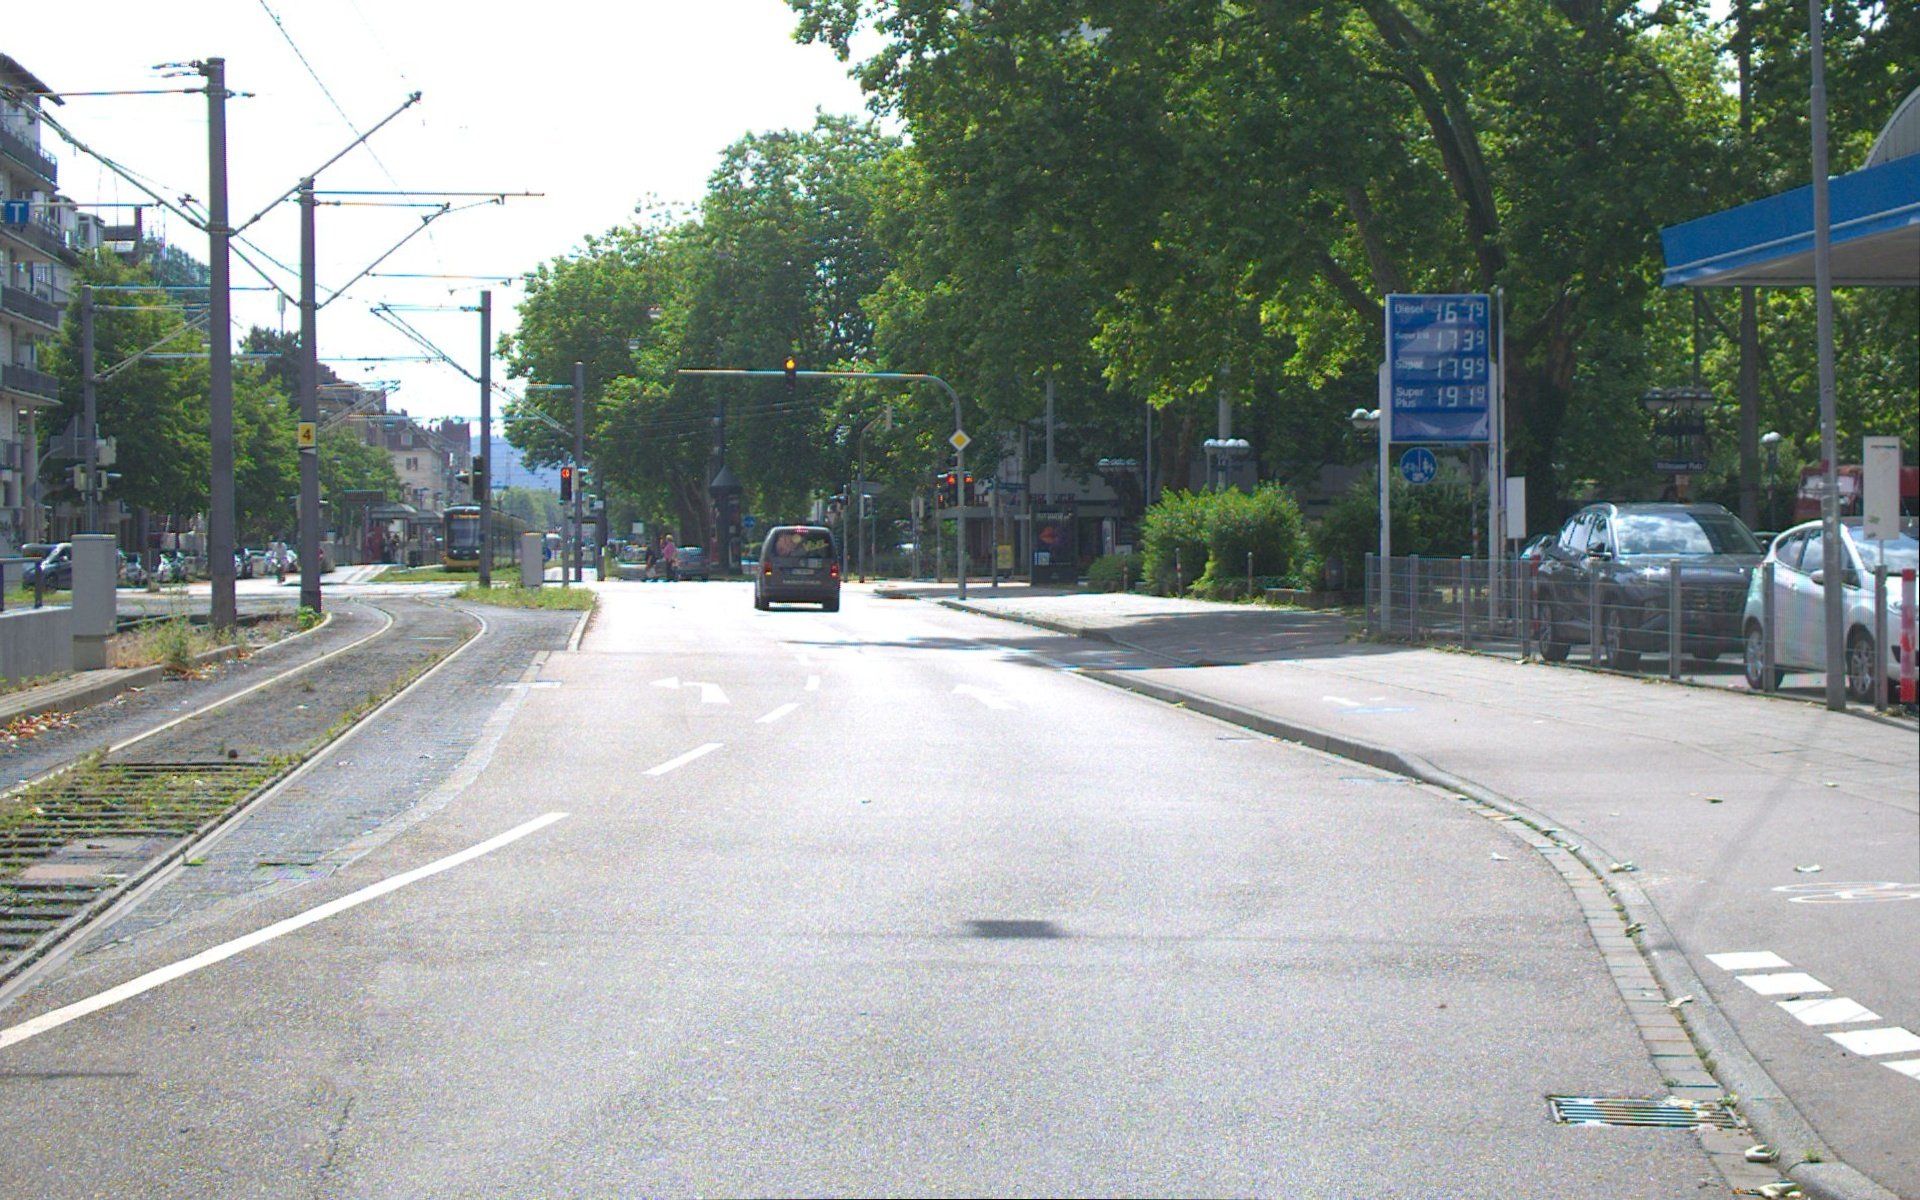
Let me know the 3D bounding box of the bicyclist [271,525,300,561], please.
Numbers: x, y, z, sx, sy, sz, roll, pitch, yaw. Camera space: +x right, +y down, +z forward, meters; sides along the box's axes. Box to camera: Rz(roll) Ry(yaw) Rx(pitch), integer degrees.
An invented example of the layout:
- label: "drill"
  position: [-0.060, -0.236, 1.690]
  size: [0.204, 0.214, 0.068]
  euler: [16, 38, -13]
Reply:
- label: "bicyclist"
  position: [-28.415, -2.391, 144.769]
  size: [0.779, 1.506, 1.000]
  euler: [0, 1, 21]

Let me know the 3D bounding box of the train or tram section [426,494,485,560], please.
- label: "train or tram section"
  position: [-26.321, -3.819, 179.788]
  size: [2.240, 3.320, 12.974]
  euler: [0, 1, -5]

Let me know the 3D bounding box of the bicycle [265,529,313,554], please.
- label: "bicycle"
  position: [-28.268, -2.457, 144.888]
  size: [0.895, 1.045, 2.306]
  euler: [0, 1, 21]

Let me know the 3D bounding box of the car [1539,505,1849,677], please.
- label: "car"
  position: [7.256, -0.132, 34.453]
  size: [1.805, 1.597, 4.583]
  euler: [0, 1, -4]

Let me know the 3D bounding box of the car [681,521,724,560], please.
- label: "car"
  position: [-11.629, -2.697, 155.152]
  size: [1.862, 1.747, 4.001]
  euler: [-1, 1, -5]

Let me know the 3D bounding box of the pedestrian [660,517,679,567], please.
- label: "pedestrian"
  position: [-10.550, -2.109, 124.734]
  size: [0.659, 1.778, 0.660]
  euler: [0, 1, -5]

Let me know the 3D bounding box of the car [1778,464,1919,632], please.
- label: "car"
  position: [15.173, -0.868, 55.580]
  size: [2.111, 2.573, 6.020]
  euler: [0, 1, -4]

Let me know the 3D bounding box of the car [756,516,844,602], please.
- label: "car"
  position: [-3.524, -0.920, 75.369]
  size: [1.750, 1.802, 3.475]
  euler: [1, 1, -5]

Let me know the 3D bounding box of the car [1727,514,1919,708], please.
- label: "car"
  position: [7.730, 0.046, 27.775]
  size: [1.805, 1.450, 4.002]
  euler: [0, 1, -6]
